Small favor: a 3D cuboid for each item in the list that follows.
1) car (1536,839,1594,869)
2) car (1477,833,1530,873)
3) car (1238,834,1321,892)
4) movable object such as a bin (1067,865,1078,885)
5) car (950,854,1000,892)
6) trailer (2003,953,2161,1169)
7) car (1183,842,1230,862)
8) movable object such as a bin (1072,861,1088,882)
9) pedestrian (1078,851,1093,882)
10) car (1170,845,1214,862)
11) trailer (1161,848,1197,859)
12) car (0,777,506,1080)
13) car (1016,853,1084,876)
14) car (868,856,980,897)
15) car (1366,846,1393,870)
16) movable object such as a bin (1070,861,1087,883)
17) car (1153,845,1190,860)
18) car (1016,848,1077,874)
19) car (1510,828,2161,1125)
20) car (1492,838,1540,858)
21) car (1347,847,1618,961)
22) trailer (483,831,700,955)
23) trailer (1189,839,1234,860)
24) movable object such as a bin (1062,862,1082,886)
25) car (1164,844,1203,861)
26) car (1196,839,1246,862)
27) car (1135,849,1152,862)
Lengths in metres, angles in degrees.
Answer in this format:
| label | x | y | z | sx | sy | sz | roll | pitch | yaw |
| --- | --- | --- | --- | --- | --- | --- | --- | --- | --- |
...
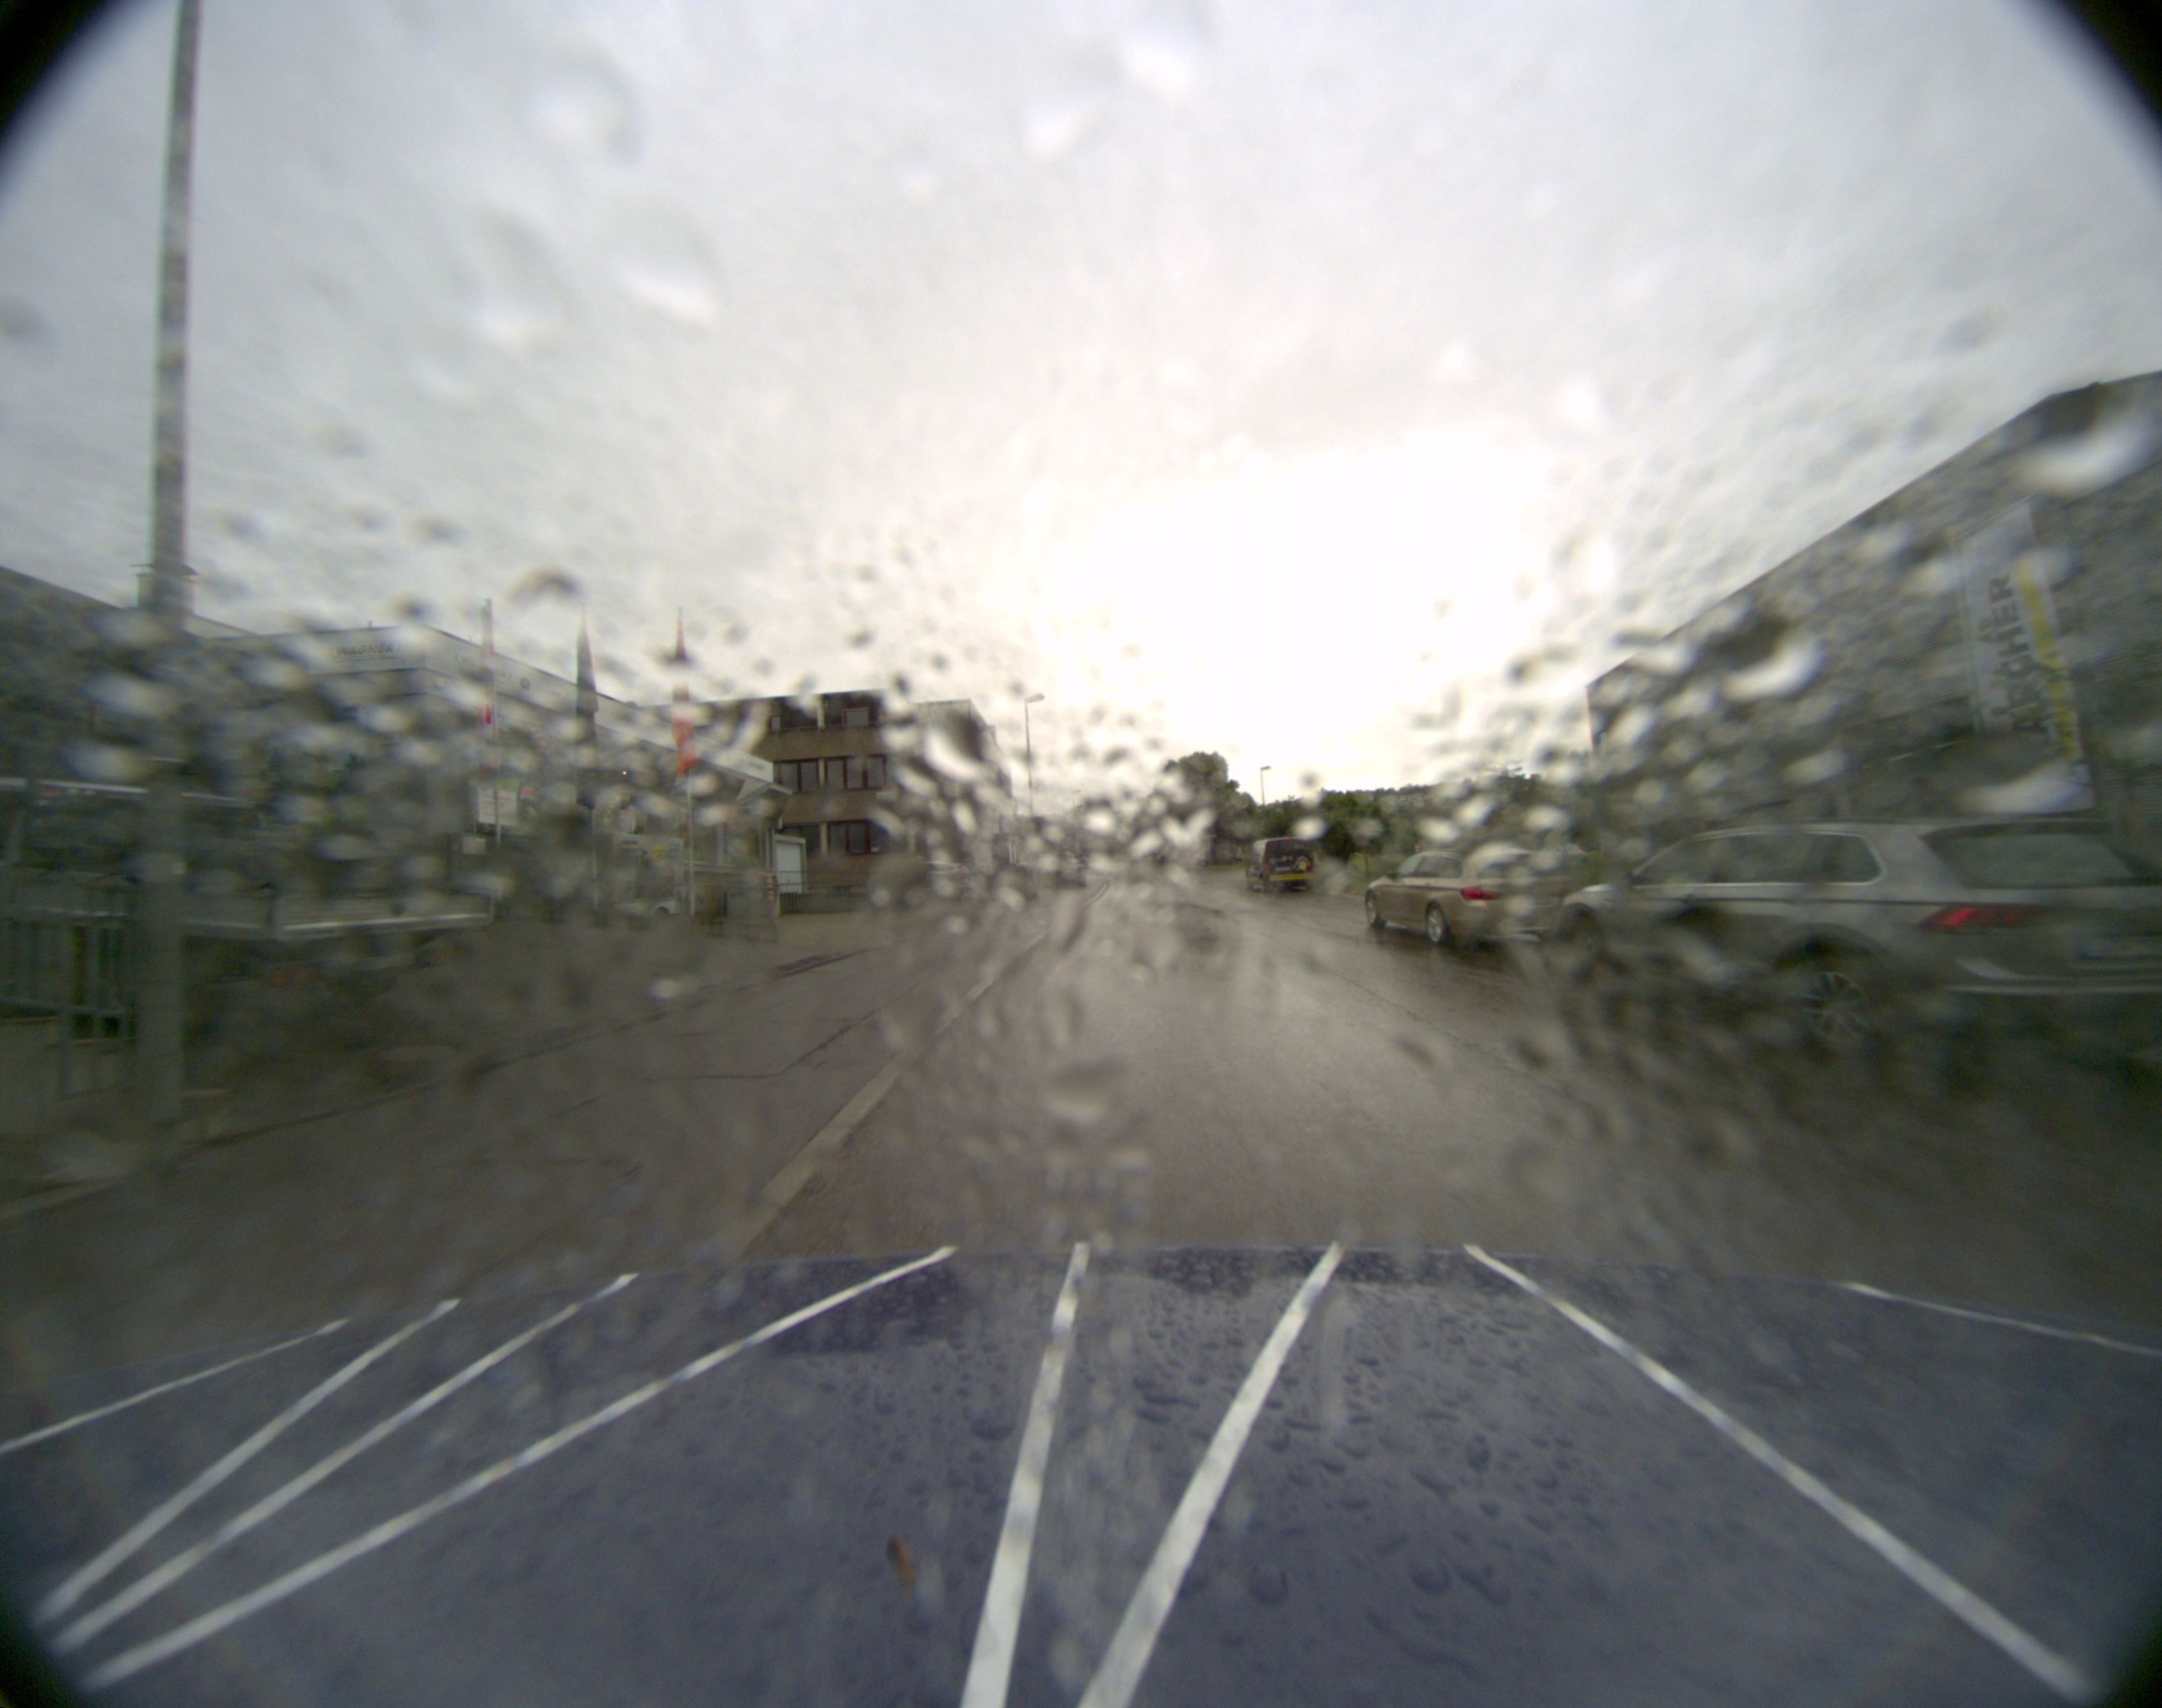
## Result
| label | x | y | z | sx | sy | sz | roll | pitch | yaw |
| --- | --- | --- | --- | --- | --- | --- | --- | --- | --- |
| car | 24.814 | -0.014 | 39.120 | 1.995 | 1.388 | 4.698 | -2 | 0 | 26 |
| car | 22.827 | 0.007 | 41.245 | 2.130 | 1.910 | 5.621 | -4 | -3 | 26 |
| car | 7.066 | 0.279 | 27.509 | 1.920 | 1.820 | 4.848 | -3 | 0 | 4 |
| movable object such as a bin | -0.405 | 1.050 | 38.034 | 0.473 | 0.961 | 0.514 | -3 | 0 | 4 |
| car | -5.530 | 0.941 | 40.096 | 1.753 | 1.740 | 4.473 | -2 | 1 | 2 |
| trailer | 5.793 | 1.000 | 2.147 | 1.684 | 0.883 | 3.897 | -2 | 1 | 1 |
| car | 12.373 | -0.225 | 74.909 | 4.207 | 1.712 | 1.754 | -3 | 1 | -3 |
| movable object such as a bin | -0.049 | 0.915 | 39.619 | 0.773 | 1.024 | 0.808 | -3 | 0 | 4 |
| pedestrian | 0.288 | 0.720 | 44.040 | 0.738 | 1.757 | 0.808 | -3 | 1 | 4 |
| car | 12.449 | -0.064 | 85.242 | 4.629 | 1.581 | 1.806 | -5 | 1 | 0 |
| trailer | 11.656 | -0.050 | 90.819 | 3.952 | 0.955 | 2.000 | -4 | 0 | -2 |
| car | -8.727 | 0.440 | 6.935 | 5.309 | 2.002 | 2.222 | 5 | 1 | 4 |
| car | -2.114 | 0.702 | 53.560 | 4.608 | 1.529 | 2.079 | -1 | 0 | 2 |
| car | -6.362 | 0.882 | 31.137 | 4.130 | 1.565 | 2.003 | 0 | 1 | 2 |
| car | 25.499 | 0.375 | 64.816 | 1.995 | 1.742 | 4.393 | -2 | -3 | 22 |
| movable object such as a bin | -0.132 | 0.930 | 38.888 | 0.745 | 1.060 | 0.637 | -3 | 0 | 4 |
| car | 11.425 | -0.175 | 96.088 | 4.380 | 1.712 | 2.043 | -3 | 1 | -4 |
| car | -2.531 | 0.521 | 56.650 | 4.351 | 1.763 | 2.089 | -2 | 0 | 1 |
| car | 6.011 | 0.623 | 6.515 | 1.962 | 1.568 | 4.839 | -2 | 1 | 1 |
| car | 49.640 | -0.644 | 86.773 | 4.492 | 2.207 | 1.933 | -1 | 0 | 22 |
| car | 6.335 | 0.669 | 12.887 | 1.960 | 1.452 | 5.248 | -2 | 0 | 2 |
| trailer | -10.849 | 0.818 | 17.309 | 1.891 | 2.402 | 4.310 | -2 | -1 | 4 |
| trailer | 13.363 | -0.471 | 77.871 | 4.223 | 1.973 | 1.773 | -2 | 1 | 0 |
| movable object such as a bin | -0.450 | 0.951 | 36.932 | 0.730 | 1.107 | 0.704 | -3 | 0 | 18 |
| car | 11.867 | -0.182 | 88.165 | 4.084 | 1.712 | 2.025 | -5 | 1 | 1 |
| car | 12.808 | -0.296 | 69.841 | 4.309 | 1.895 | 1.862 | -2 | 1 | 5 |
| car | 7.526 | 0.164 | 92.000 | 1.751 | 1.500 | 3.934 | -3 | 1 | 1 |
